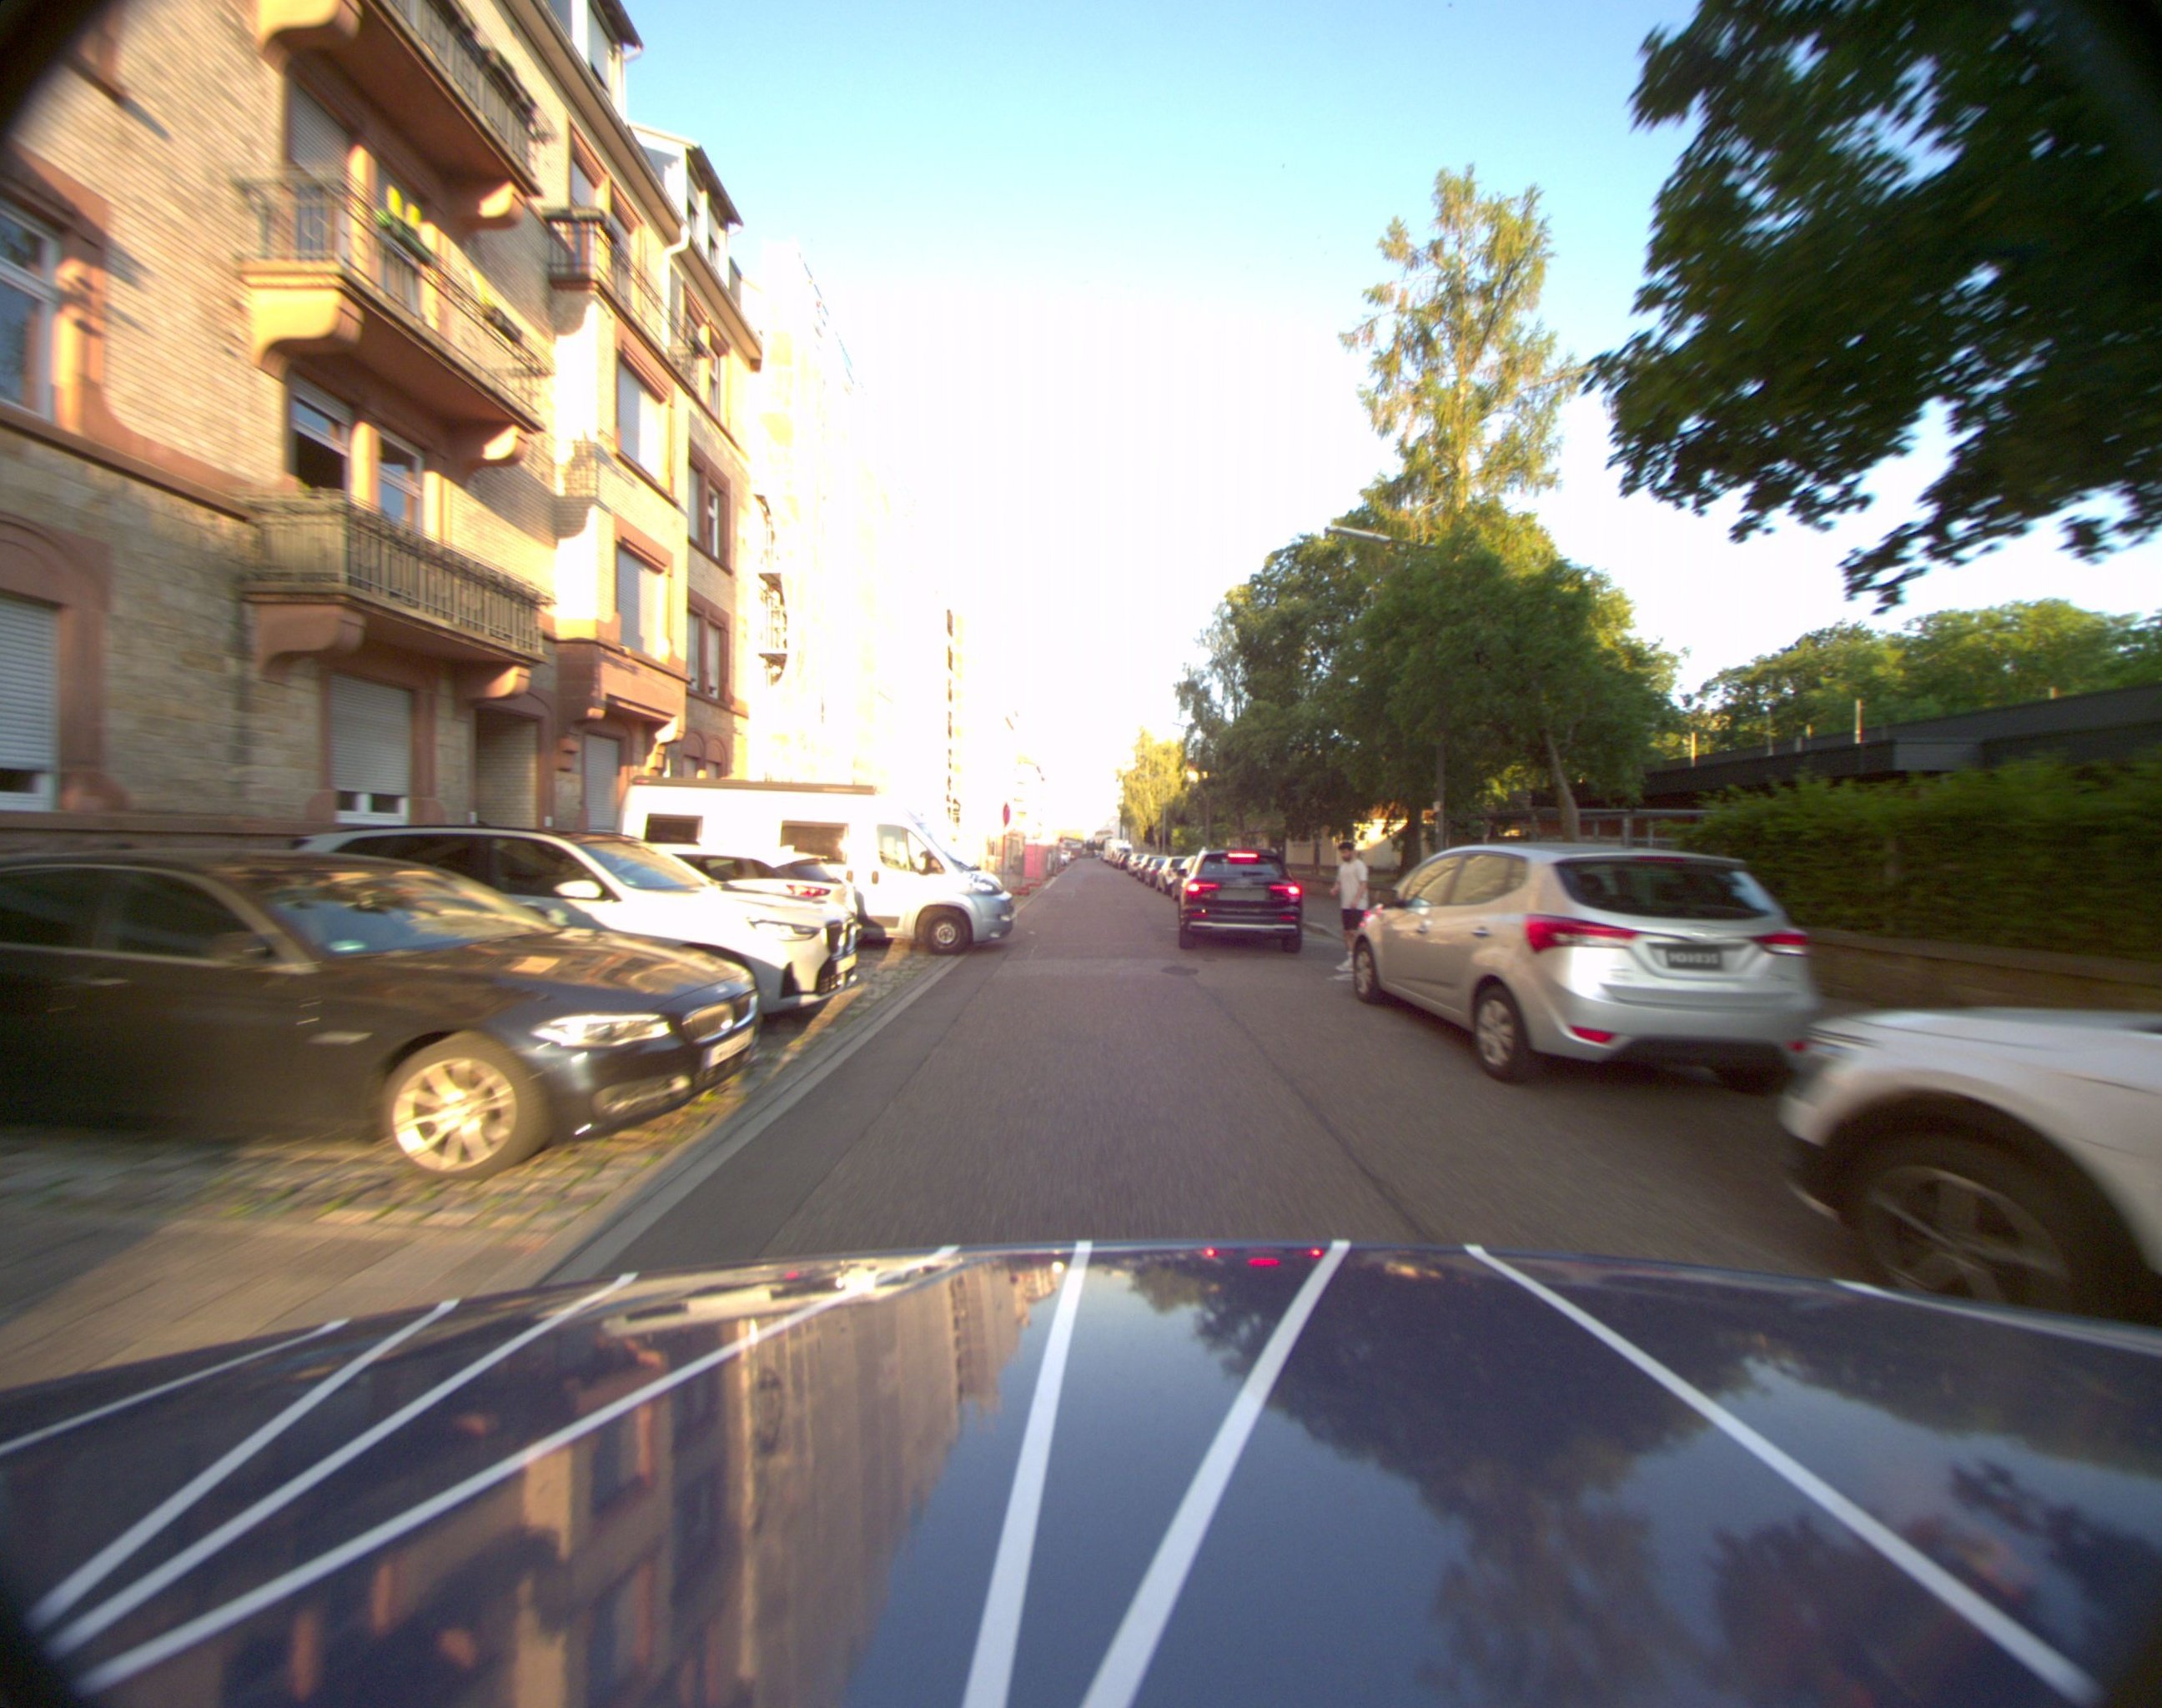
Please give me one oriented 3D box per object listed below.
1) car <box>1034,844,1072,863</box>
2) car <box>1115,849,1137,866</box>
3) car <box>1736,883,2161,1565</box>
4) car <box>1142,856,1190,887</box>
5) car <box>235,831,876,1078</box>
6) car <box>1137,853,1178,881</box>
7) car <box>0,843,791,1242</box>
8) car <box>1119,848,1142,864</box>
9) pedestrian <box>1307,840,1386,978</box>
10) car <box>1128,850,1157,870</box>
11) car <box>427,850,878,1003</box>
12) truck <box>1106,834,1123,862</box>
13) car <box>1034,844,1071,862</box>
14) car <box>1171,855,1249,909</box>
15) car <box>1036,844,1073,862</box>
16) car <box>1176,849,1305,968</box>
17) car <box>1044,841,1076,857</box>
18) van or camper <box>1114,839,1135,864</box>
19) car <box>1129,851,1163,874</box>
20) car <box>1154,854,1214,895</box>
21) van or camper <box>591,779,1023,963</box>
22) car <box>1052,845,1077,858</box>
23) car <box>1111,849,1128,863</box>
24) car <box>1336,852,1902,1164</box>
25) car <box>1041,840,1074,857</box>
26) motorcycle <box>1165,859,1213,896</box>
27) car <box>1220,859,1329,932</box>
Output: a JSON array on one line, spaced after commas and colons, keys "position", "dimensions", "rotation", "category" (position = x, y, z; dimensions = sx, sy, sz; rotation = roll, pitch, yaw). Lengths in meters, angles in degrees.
[{"position": [-2.958, -0.089, 81.539], "dimensions": [3.997, 2.002, 2.000], "rotation": [-1, 1, 0], "category": "car"}, {"position": [4.290, 0.280, 72.764], "dimensions": [1.738, 1.502, 4.290], "rotation": [2, 1, 0], "category": "car"}, {"position": [3.445, 0.916, 0.748], "dimensions": [1.763, 1.534, 4.279], "rotation": [2, 1, -2], "category": "car"}, {"position": [3.885, 0.764, 35.171], "dimensions": [1.738, 1.280, 3.804], "rotation": [2, 1, 0], "category": "car"}, {"position": [-4.303, 0.731, 6.733], "dimensions": [4.413, 1.739, 1.845], "rotation": [2, 3, 3], "category": "car"}, {"position": [3.982, 0.654, 40.021], "dimensions": [1.738, 1.358, 3.804], "rotation": [2, 1, 0], "category": "car"}, {"position": [-4.174, 0.799, 4.211], "dimensions": [4.414, 1.545, 1.845], "rotation": [2, 3, 2], "category": "car"}, {"position": [4.331, 0.145, 66.747], "dimensions": [1.738, 1.358, 4.290], "rotation": [2, 0, 0], "category": "car"}, {"position": [3.387, 0.684, 9.737], "dimensions": [0.748, 1.693, 0.558], "rotation": [-3, 1, -3], "category": "pedestrian"}, {"position": [4.385, 0.416, 54.682], "dimensions": [1.738, 1.358, 4.290], "rotation": [2, 0, 0], "category": "car"}, {"position": [-4.966, 0.802, 9.274], "dimensions": [4.414, 1.610, 1.845], "rotation": [0, 3, 2], "category": "car"}, {"position": [4.561, -0.857, 105.253], "dimensions": [2.182, 3.860, 4.926], "rotation": [-1, 1, 1], "category": "truck"}, {"position": [-3.220, -0.154, 86.308], "dimensions": [3.997, 2.002, 2.000], "rotation": [-1, 1, 0], "category": "car"}, {"position": [3.828, 0.777, 23.131], "dimensions": [1.738, 1.438, 3.804], "rotation": [2, 1, 1], "category": "car"}, {"position": [-2.891, -0.121, 83.757], "dimensions": [3.997, 2.002, 2.000], "rotation": [-1, 1, 0], "category": "car"}, {"position": [2.506, 0.748, 12.720], "dimensions": [1.737, 1.622, 4.128], "rotation": [2, 1, 8], "category": "car"}, {"position": [-2.734, -0.673, 97.957], "dimensions": [3.997, 2.002, 2.000], "rotation": [-1, 1, 0], "category": "car"}, {"position": [4.473, -0.268, 78.107], "dimensions": [1.825, 2.400, 4.290], "rotation": [2, 1, 0], "category": "van or camper"}, {"position": [4.083, 0.531, 48.541], "dimensions": [1.738, 1.358, 4.290], "rotation": [2, 0, 0], "category": "car"}, {"position": [3.895, 0.742, 29.336], "dimensions": [1.738, 1.417, 3.804], "rotation": [2, 1, 0], "category": "car"}, {"position": [-4.099, 0.239, 12.109], "dimensions": [6.074, 2.490, 2.050], "rotation": [2, 1, 1], "category": "van or camper"}, {"position": [-2.753, -0.428, 127.233], "dimensions": [3.997, 2.002, 2.000], "rotation": [-1, 1, 0], "category": "car"}, {"position": [4.401, 0.165, 87.324], "dimensions": [1.738, 1.502, 4.290], "rotation": [2, 1, 0], "category": "car"}, {"position": [3.573, 0.828, 6.104], "dimensions": [1.738, 1.622, 3.980], "rotation": [2, 1, 1], "category": "car"}, {"position": [-2.927, -0.699, 94.800], "dimensions": [3.997, 2.002, 2.000], "rotation": [-1, 1, 0], "category": "car"}, {"position": [3.721, 0.813, 26.299], "dimensions": [1.596, 1.251, 0.785], "rotation": [-1, 1, 3], "category": "motorcycle"}, {"position": [4.282, 0.870, 17.323], "dimensions": [1.623, 1.417, 3.415], "rotation": [2, 1, 1], "category": "car"}]
